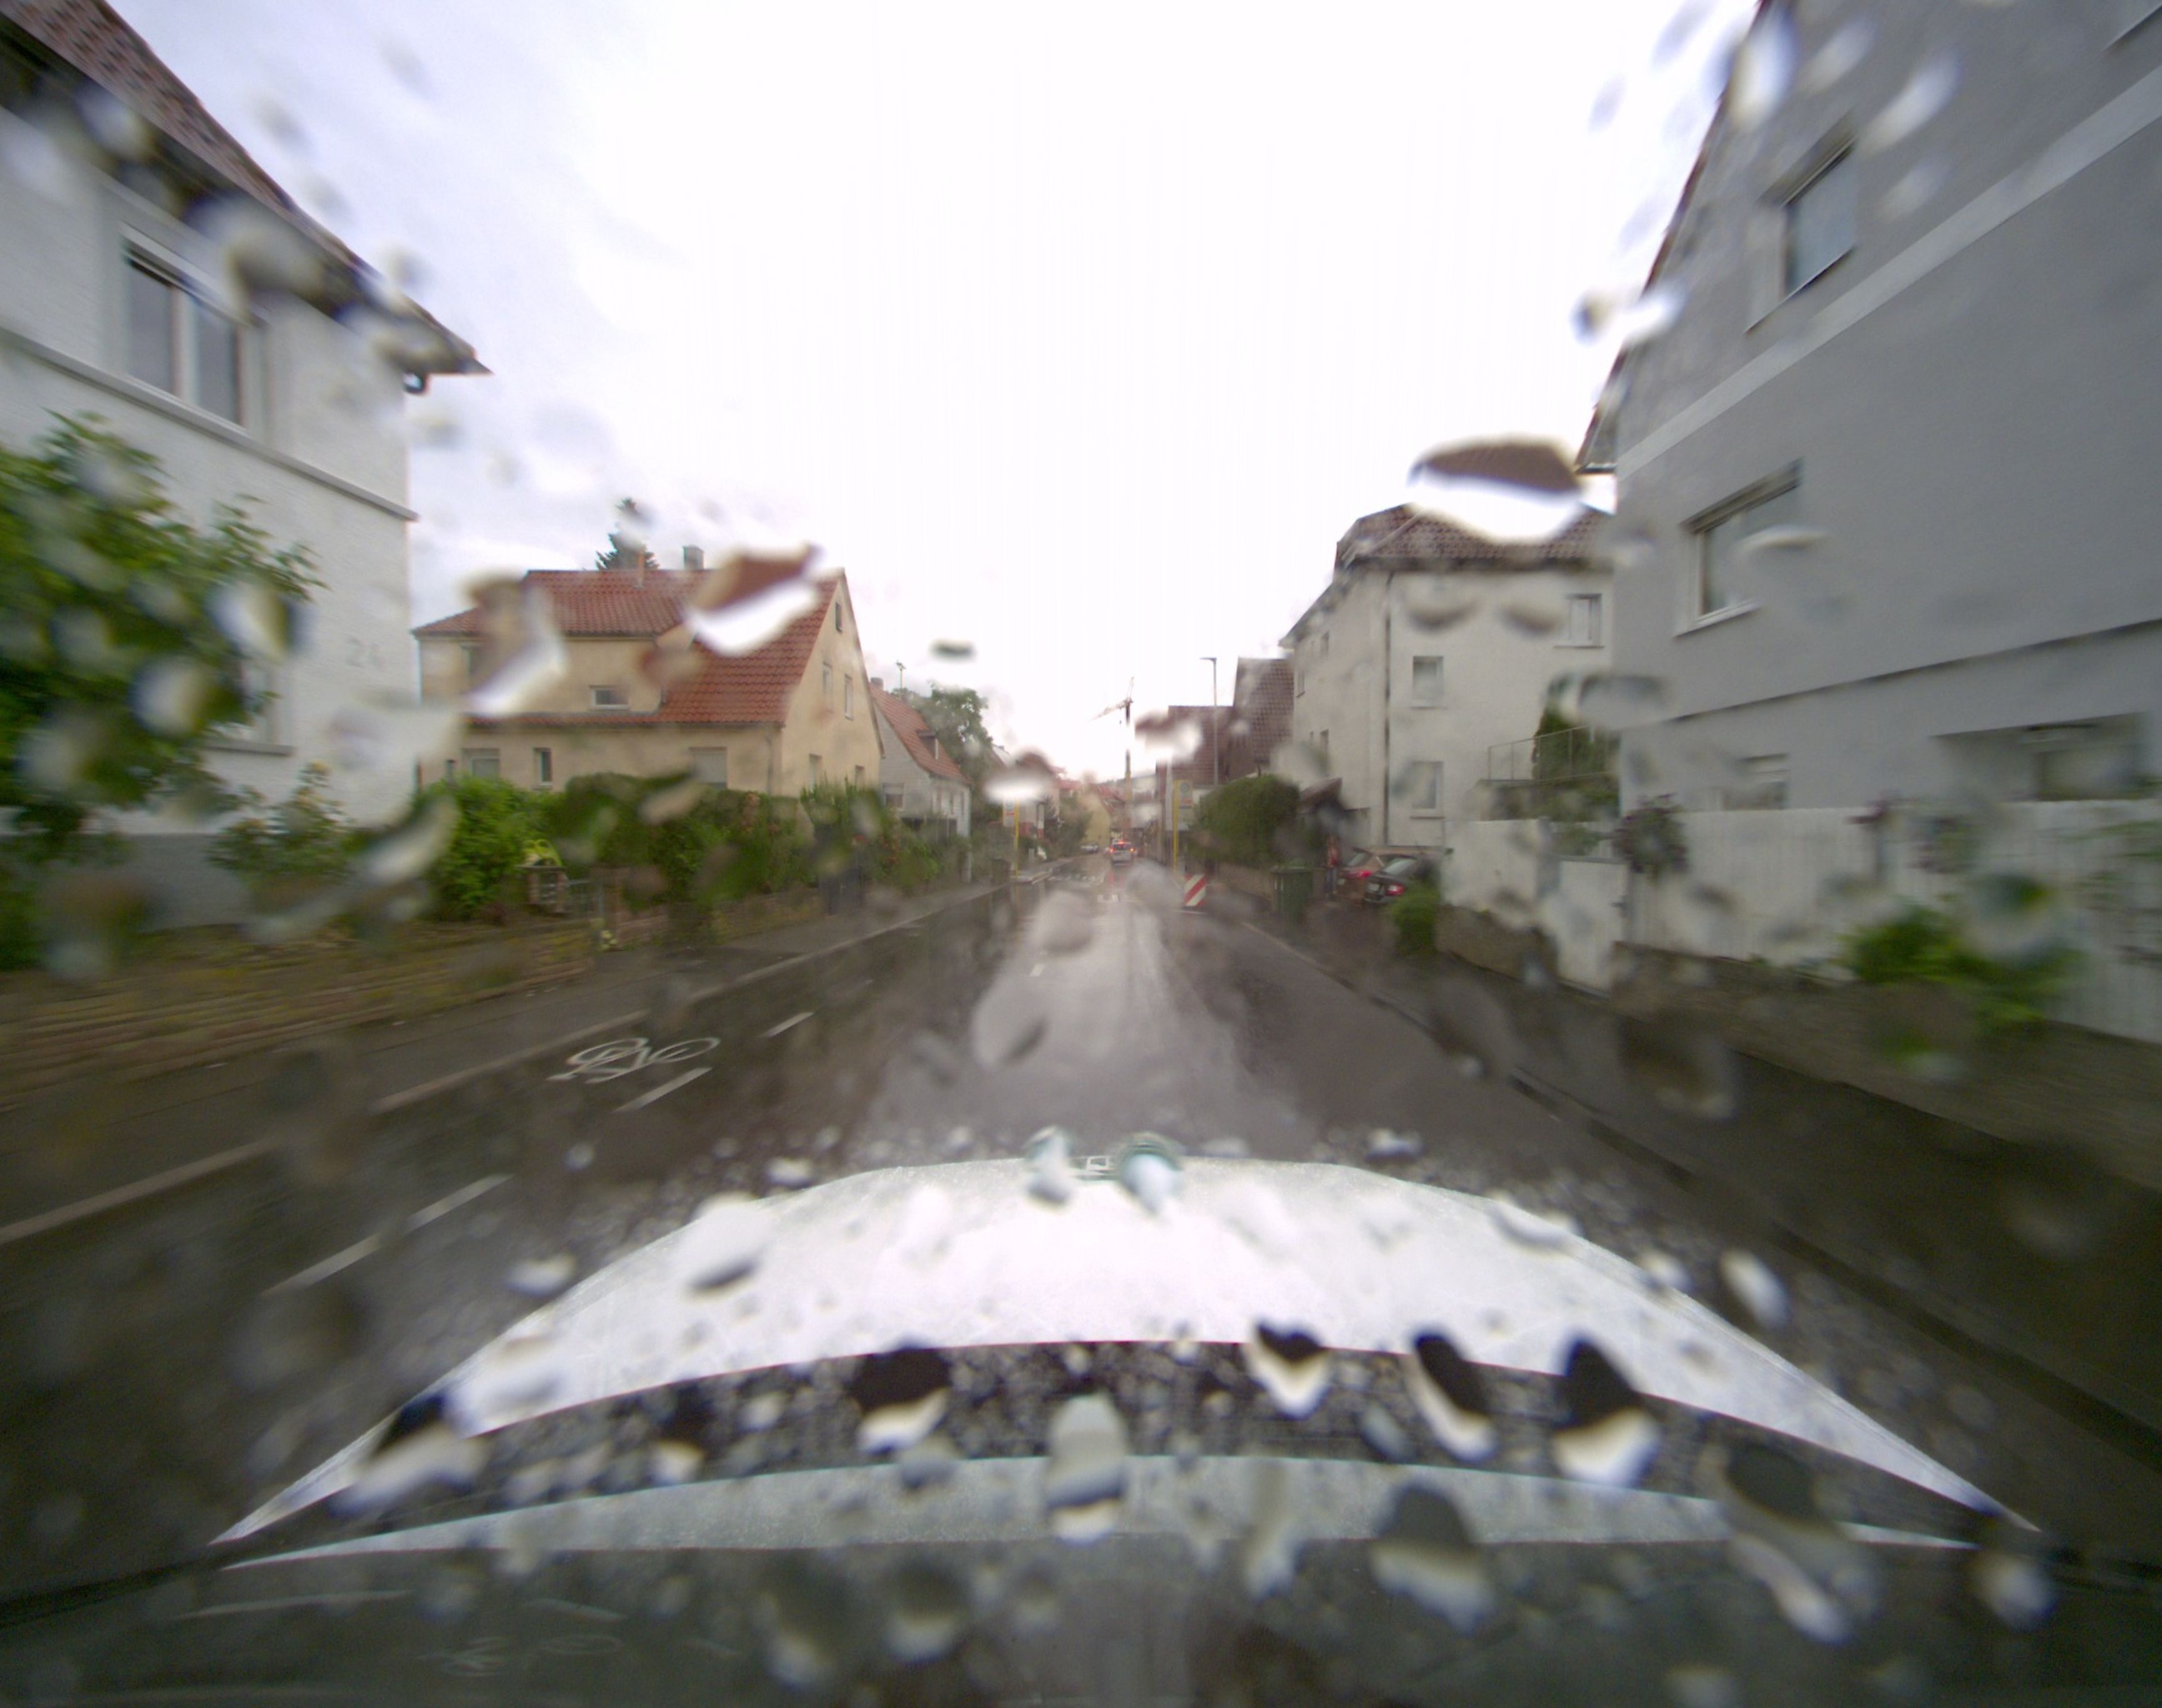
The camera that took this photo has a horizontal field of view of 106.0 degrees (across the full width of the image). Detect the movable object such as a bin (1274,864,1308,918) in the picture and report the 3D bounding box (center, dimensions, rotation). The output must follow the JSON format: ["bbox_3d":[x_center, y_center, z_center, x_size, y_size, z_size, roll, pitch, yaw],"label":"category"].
[{"bbox_3d":[4.348,0.754,16.887,0.566,1.076,0.538,0,0,0],"label":"movable object such as a bin"}]

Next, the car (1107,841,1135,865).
[{"bbox_3d":[3.210,-0.105,66.023,2.173,1.869,4.002,-1,0,2],"label":"car"}]

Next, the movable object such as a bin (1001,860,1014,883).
[{"bbox_3d":[-3.136,0.741,34.761,0.466,0.938,0.455,3,3,4],"label":"movable object such as a bin"}]

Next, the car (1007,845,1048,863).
[{"bbox_3d":[-4.903,-0.039,74.803,3.530,1.529,1.665,2,0,3],"label":"car"}]

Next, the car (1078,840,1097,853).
[{"bbox_3d":[0.895,-1.108,115.701,1.587,1.677,3.957,1,2,18],"label":"car"}]

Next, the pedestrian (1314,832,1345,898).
[{"bbox_3d":[6.505,0.281,21.350,0.625,1.726,0.619,0,0,2],"label":"pedestrian"}]

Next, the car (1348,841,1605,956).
[{"bbox_3d":[6.490,0.687,13.620,3.432,1.481,1.581,6,1,1],"label":"car"}]

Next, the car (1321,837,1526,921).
[{"bbox_3d":[6.785,0.476,16.378,3.464,1.510,1.581,-2,0,1],"label":"car"}]

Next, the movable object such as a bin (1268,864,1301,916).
[{"bbox_3d":[4.354,0.761,17.472,0.566,1.076,0.538,0,0,0],"label":"movable object such as a bin"}]

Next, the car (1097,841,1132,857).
[{"bbox_3d":[4.008,-0.592,97.320,3.964,1.794,1.808,-1,0,8],"label":"car"}]
